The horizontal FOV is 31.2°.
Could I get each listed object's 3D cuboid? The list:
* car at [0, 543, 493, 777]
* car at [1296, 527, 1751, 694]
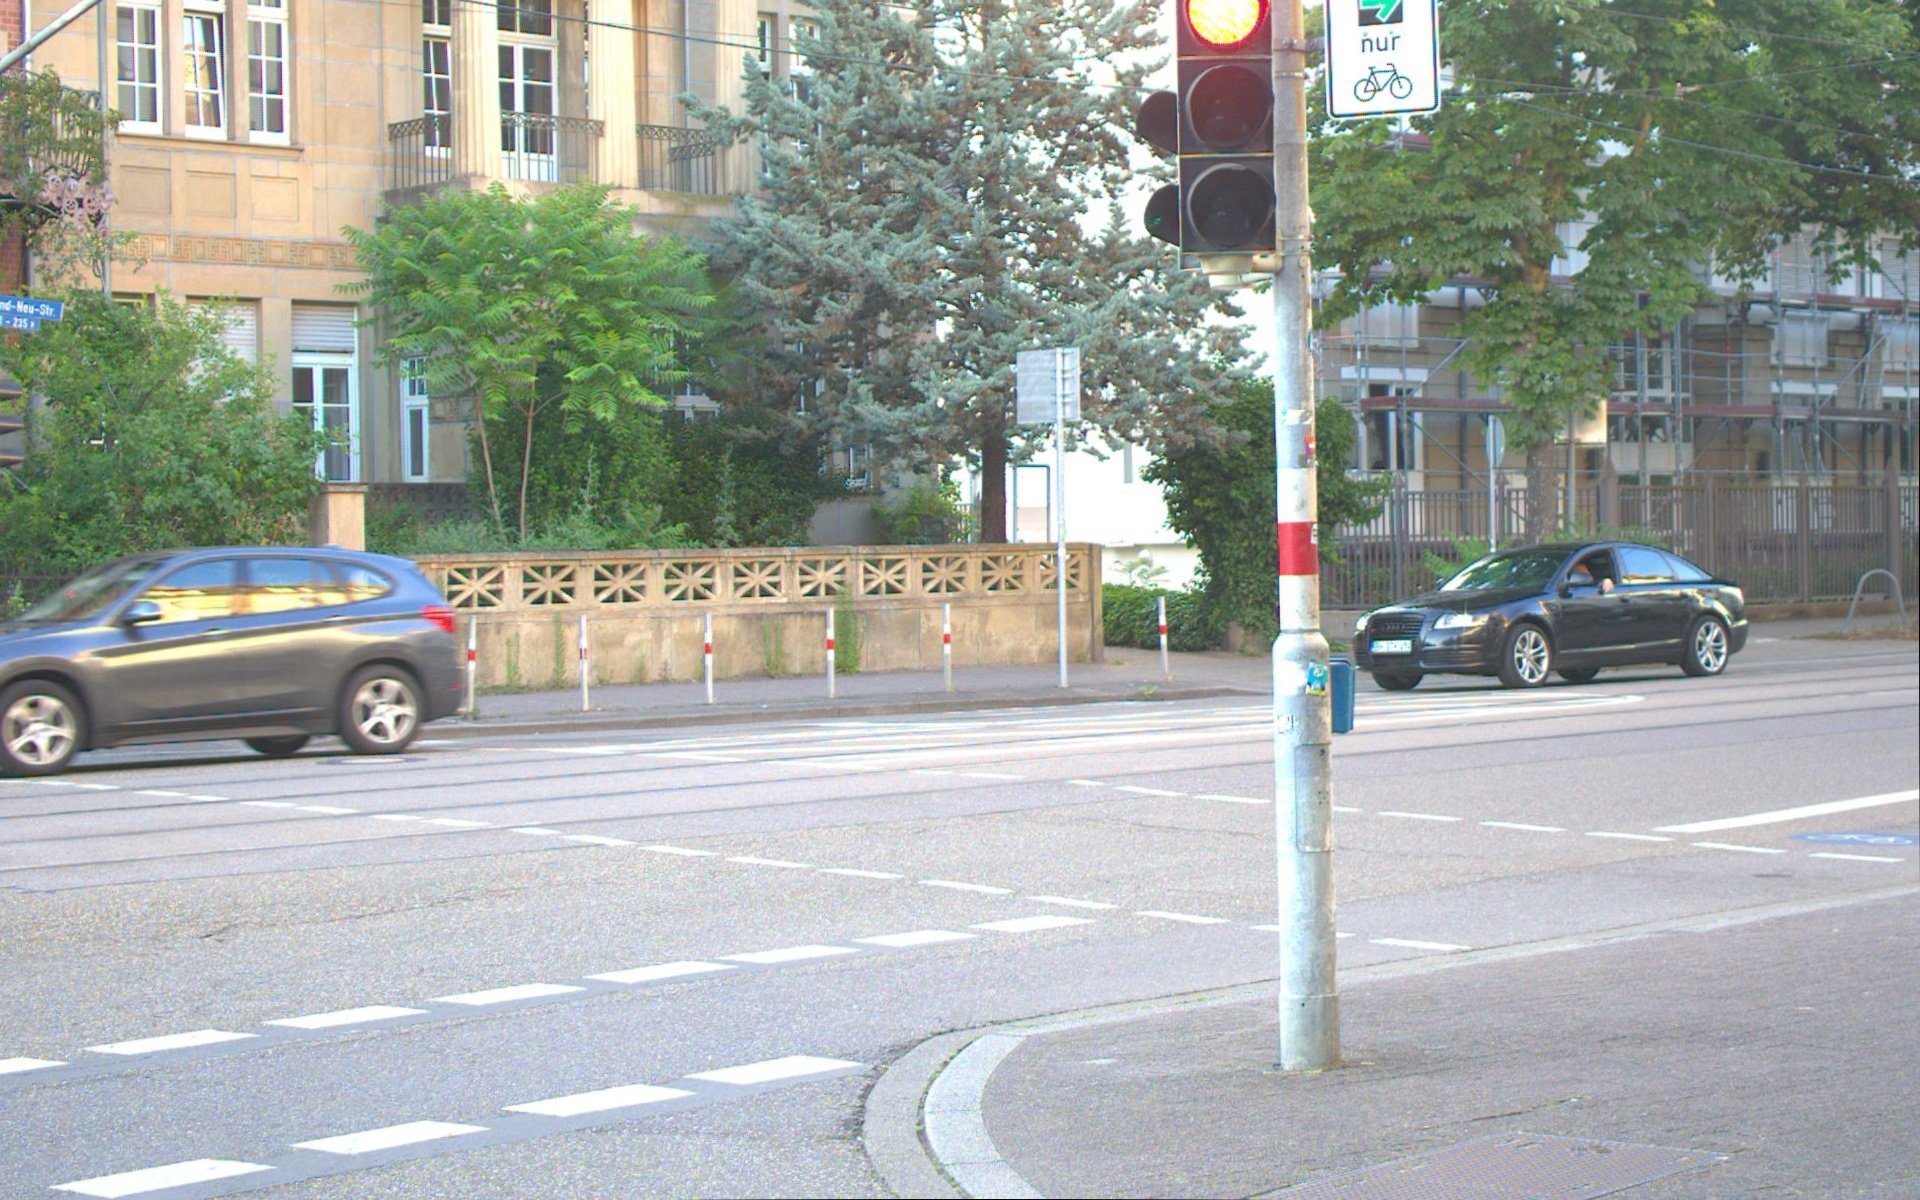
[{"bbox_3d":[-5.794,0.388,24.886,4.407,1.504,1.949,-2,1,-40],"label":"car"},{"bbox_3d":[5.704,0.064,34.486,4.619,1.504,1.949,-2,1,-40],"label":"car"}]
